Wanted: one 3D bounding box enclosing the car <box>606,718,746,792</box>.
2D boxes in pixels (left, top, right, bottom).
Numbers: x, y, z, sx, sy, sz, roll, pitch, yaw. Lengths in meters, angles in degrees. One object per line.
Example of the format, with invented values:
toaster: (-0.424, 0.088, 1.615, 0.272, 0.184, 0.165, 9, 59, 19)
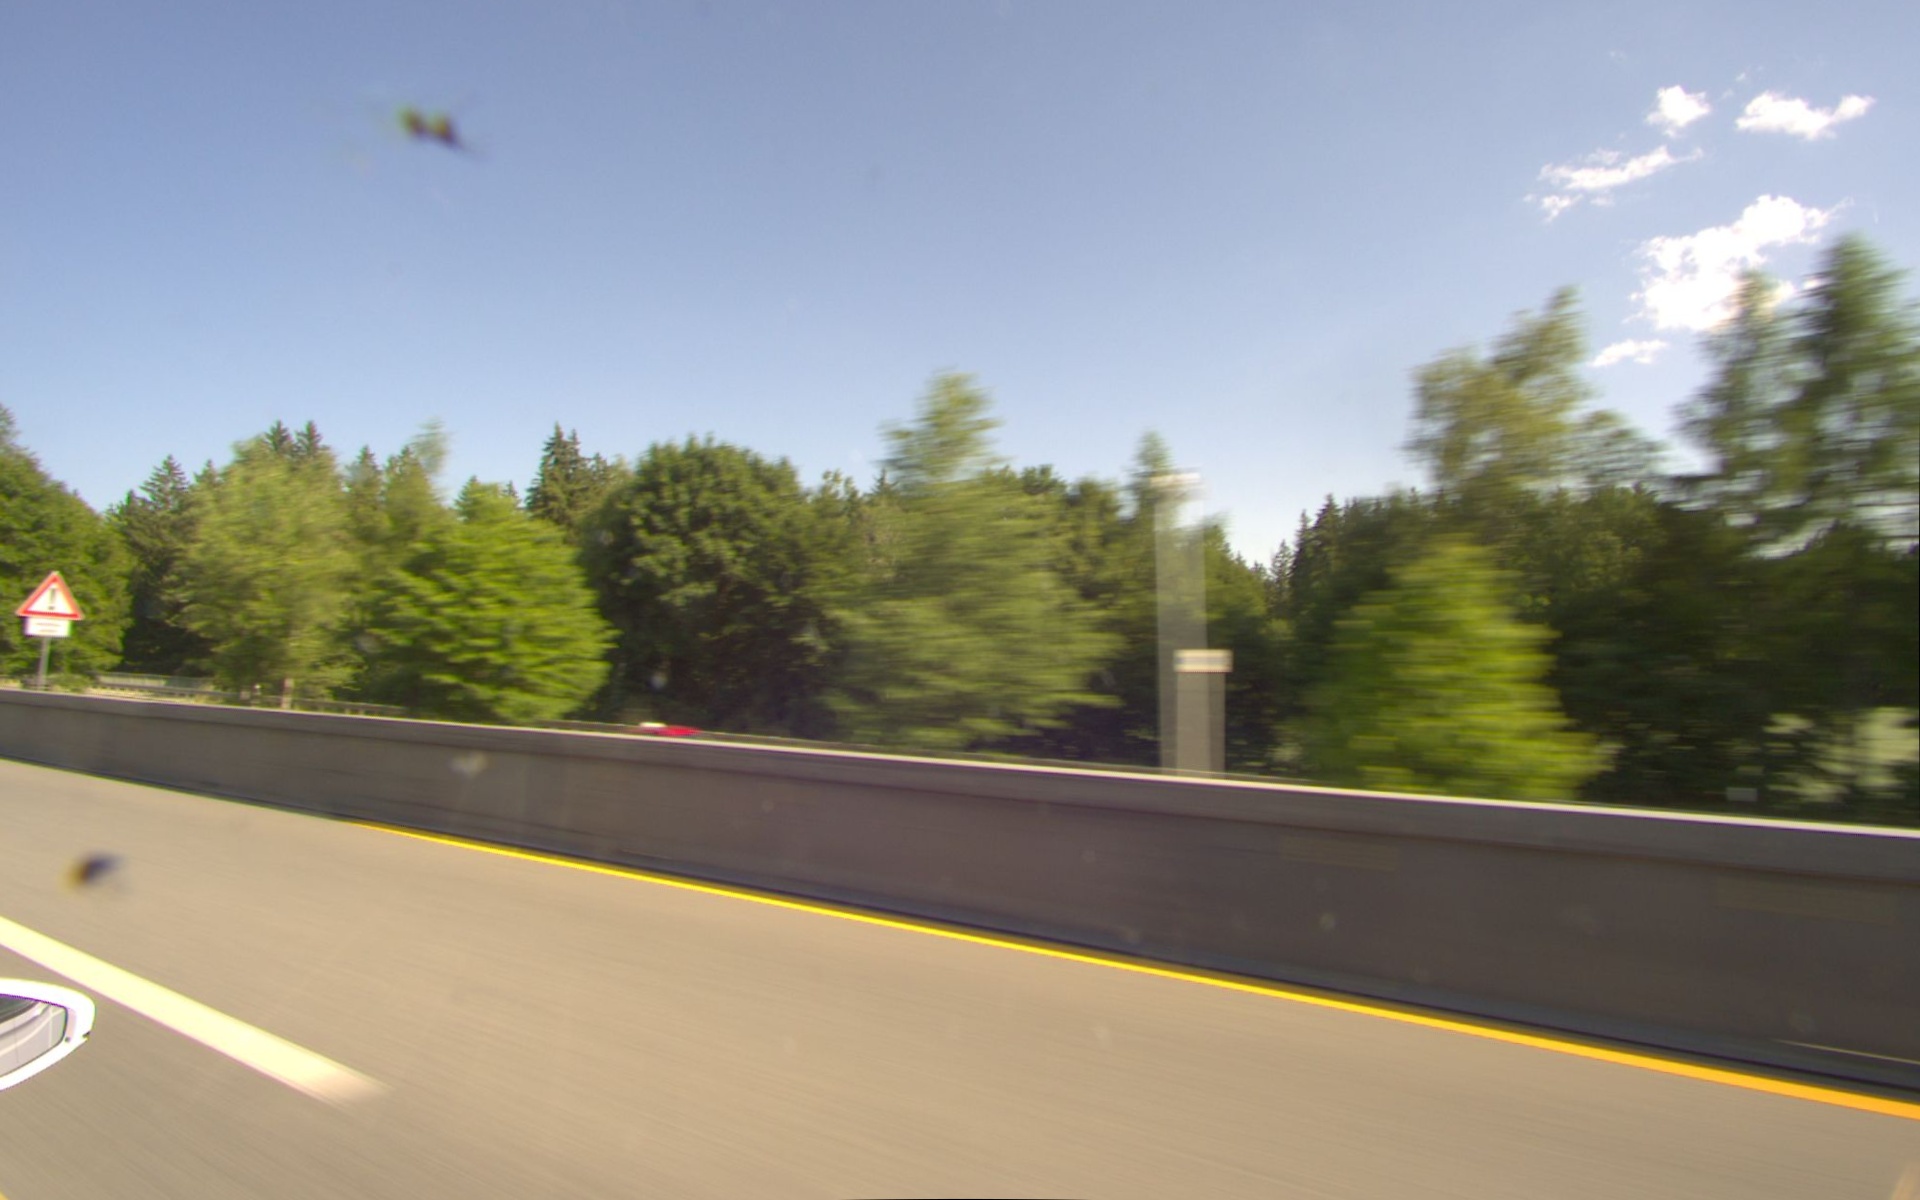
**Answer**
car: (-8.123, 4.356, 28.555, 3.827, 1.674, 1.761, -1, -3, 34)
